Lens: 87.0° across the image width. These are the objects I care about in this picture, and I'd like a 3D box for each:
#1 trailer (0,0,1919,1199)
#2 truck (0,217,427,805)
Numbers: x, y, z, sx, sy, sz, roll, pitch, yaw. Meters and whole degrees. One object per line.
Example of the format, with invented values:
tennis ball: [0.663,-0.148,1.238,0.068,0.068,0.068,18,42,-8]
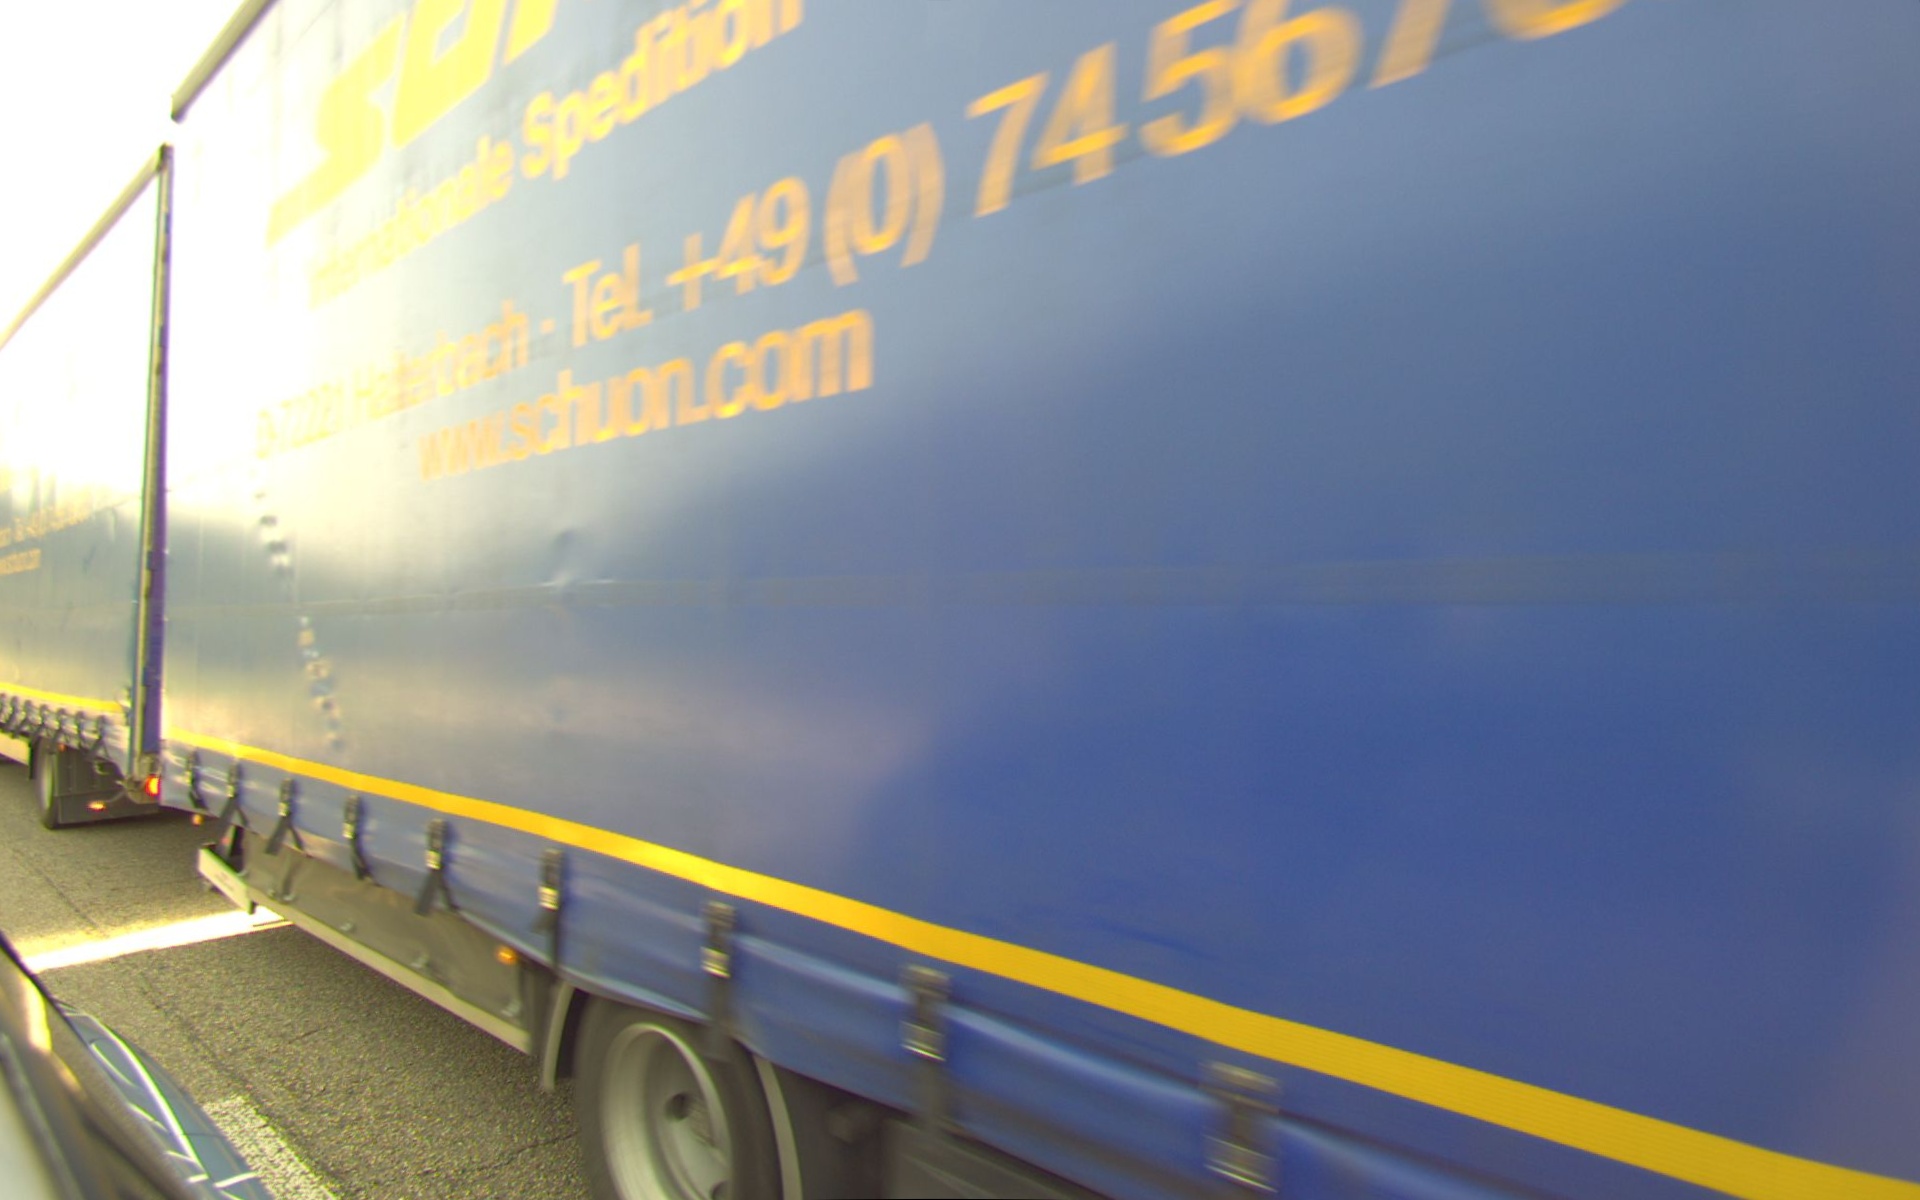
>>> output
trailer: [-2.489,-0.590,5.486,15.303,4.451,3.226,-3,-2,40]
truck: [-8.753,-0.558,10.827,6.567,4.430,3.155,-3,-2,41]
